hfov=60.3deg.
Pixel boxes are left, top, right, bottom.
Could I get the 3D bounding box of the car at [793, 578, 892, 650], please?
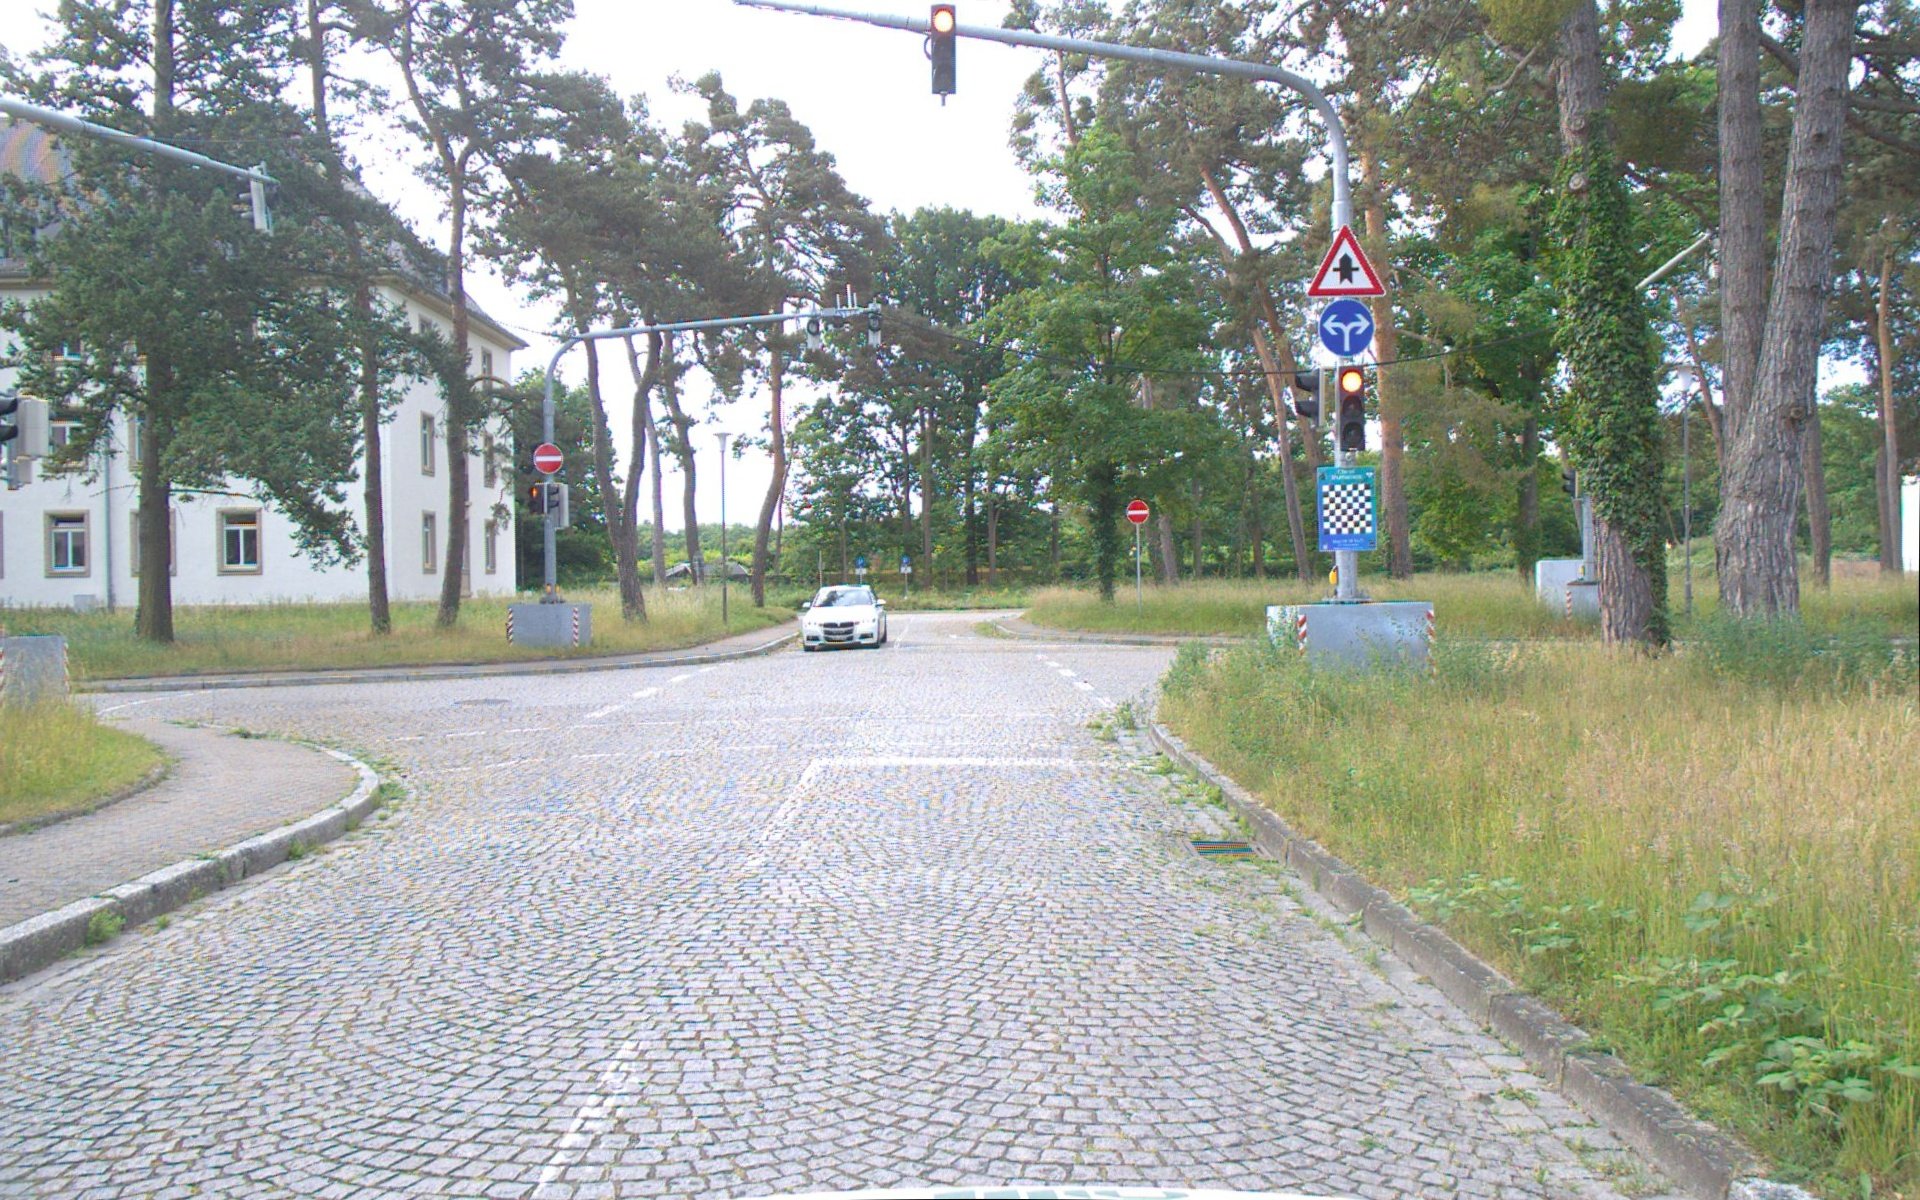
[{"bbox_3d":[-2.737,0.285,39.421,1.736,1.463,4.220,-4,1,3],"label":"car"}]
